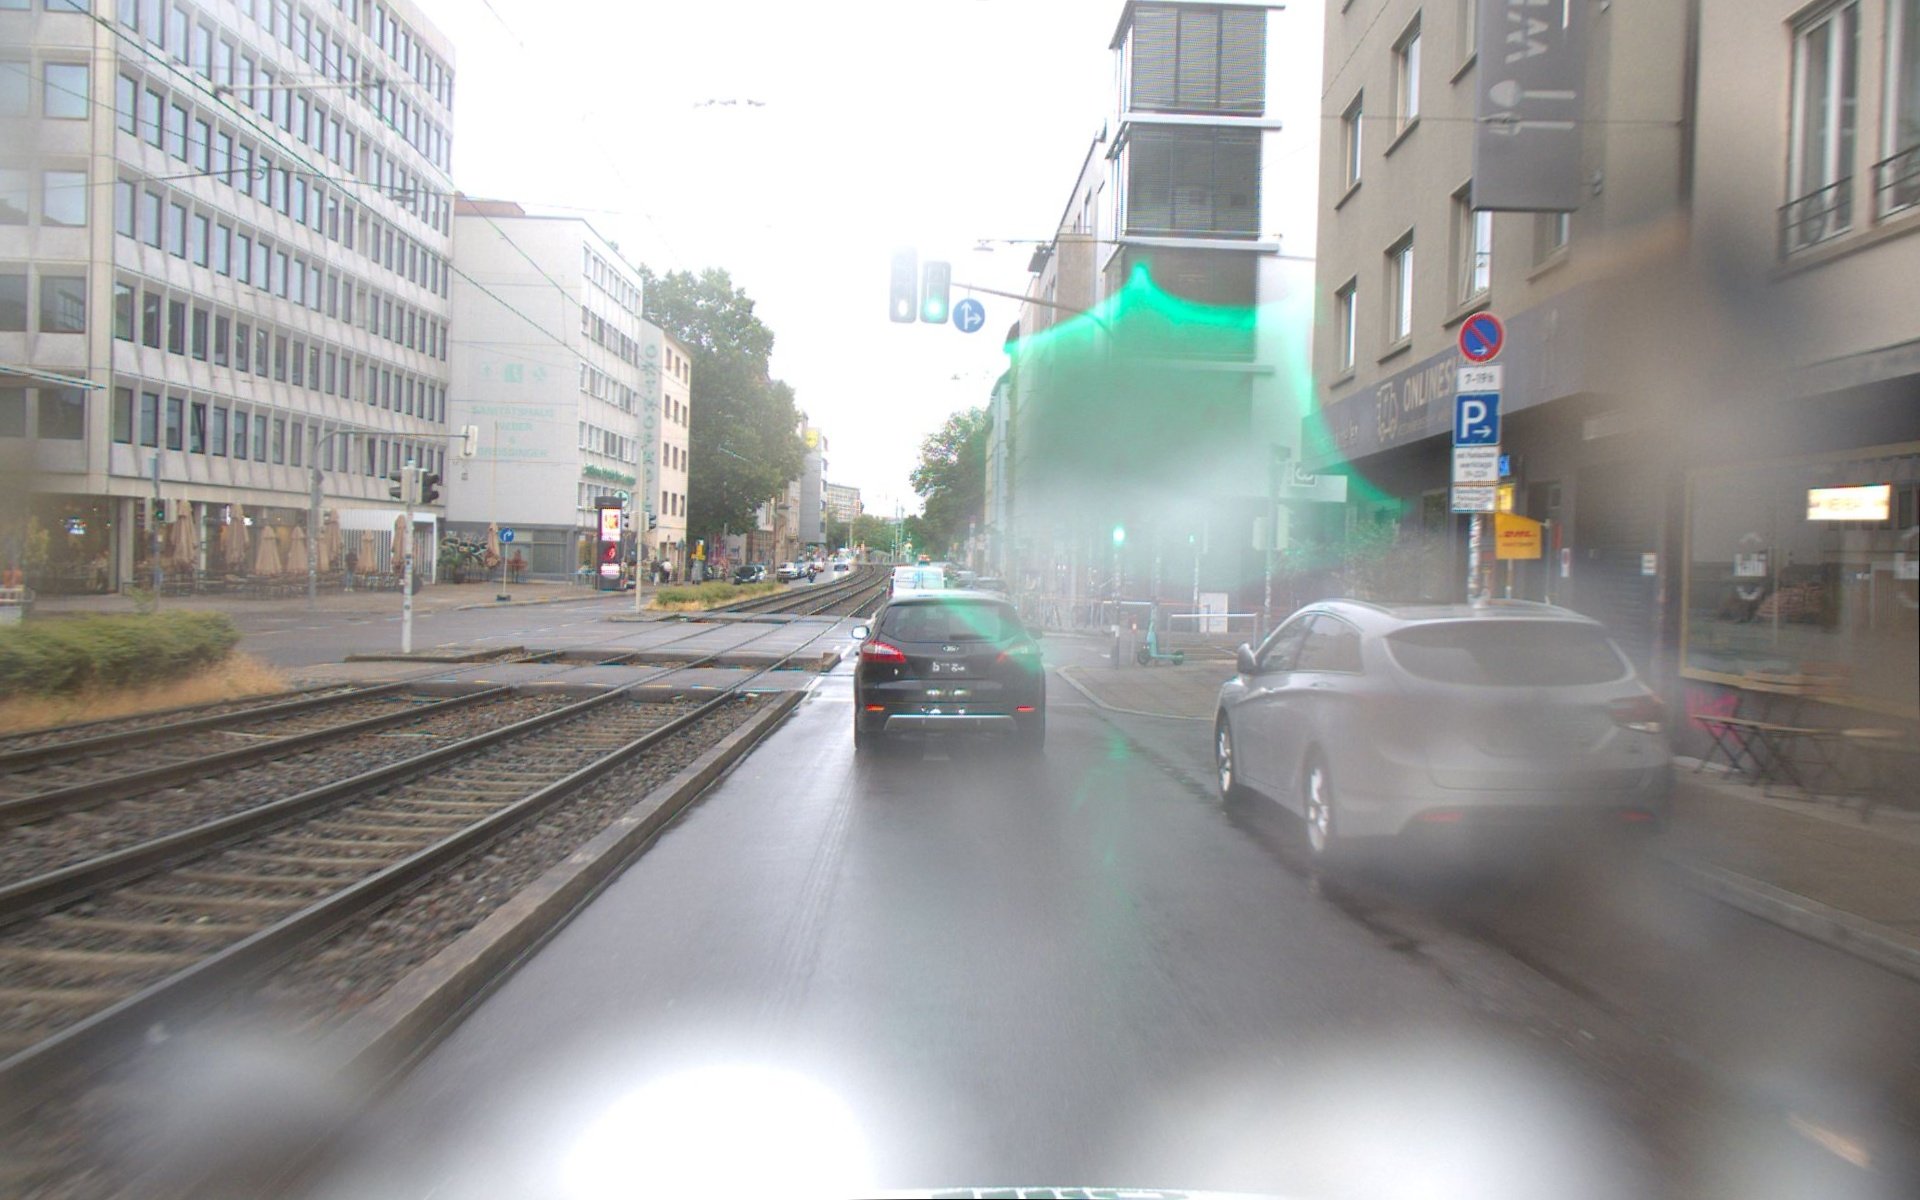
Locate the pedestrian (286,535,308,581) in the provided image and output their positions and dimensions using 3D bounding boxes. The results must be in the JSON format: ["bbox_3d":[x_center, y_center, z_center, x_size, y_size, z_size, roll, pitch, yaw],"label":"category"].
[{"bbox_3d":[-26.298,-1.664,65.629,0.553,1.779,0.843,2,1,-6],"label":"pedestrian"}]

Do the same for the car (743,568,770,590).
[{"bbox_3d":[-16.061,-1.688,130.791,1.687,1.597,4.219,2,1,-1],"label":"car"}]

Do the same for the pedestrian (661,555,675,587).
[{"bbox_3d":[-17.954,-1.763,101.620,0.665,1.929,0.742,2,0,-2],"label":"pedestrian"}]

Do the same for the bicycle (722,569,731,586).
[{"bbox_3d":[-17.373,-1.659,122.975,0.580,1.248,2.399,2,0,-8],"label":"bicycle"}]

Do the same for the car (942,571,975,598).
[{"bbox_3d":[-0.116,-0.938,103.841,1.953,1.621,4.571,1,0,-1],"label":"car"}]

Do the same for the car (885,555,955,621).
[{"bbox_3d":[-1.173,-0.351,49.423,1.953,1.848,4.271,1,0,-1],"label":"car"}]

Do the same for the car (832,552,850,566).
[{"bbox_3d":[-14.914,-5.119,207.632,1.953,1.545,4.443,2,-1,-1],"label":"car"}]

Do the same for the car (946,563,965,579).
[{"bbox_3d":[-0.451,-2.953,167.246,1.704,1.514,3.999,2,2,-2],"label":"car"}]

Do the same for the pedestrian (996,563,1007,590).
[{"bbox_3d":[3.177,-1.802,127.471,0.721,2.048,0.821,2,1,-2],"label":"pedestrian"}]

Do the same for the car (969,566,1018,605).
[{"bbox_3d":[1.445,-0.616,72.385,1.953,1.621,4.271,1,0,-1],"label":"car"}]

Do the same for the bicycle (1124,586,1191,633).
[{"bbox_3d":[5.328,0.241,44.705,0.572,1.177,1.931,2,1,-37],"label":"bicycle"}]

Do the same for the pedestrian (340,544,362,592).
[{"bbox_3d":[-24.042,-1.277,65.323,0.553,1.854,0.843,2,1,-6],"label":"pedestrian"}]

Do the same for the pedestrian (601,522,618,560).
[{"bbox_3d":[-18.285,-3.056,86.269,0.713,1.929,0.688,2,0,-5],"label":"pedestrian"}]

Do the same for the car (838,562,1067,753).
[{"bbox_3d":[-0.091,0.488,16.466,1.953,1.621,4.271,1,0,-1],"label":"car"}]

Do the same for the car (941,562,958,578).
[{"bbox_3d":[-1.137,-3.149,171.695,1.609,1.542,4.038,2,2,-2],"label":"car"}]

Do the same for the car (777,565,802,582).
[{"bbox_3d":[-16.416,-2.536,159.188,1.953,1.545,4.434,2,1,-1],"label":"car"}]

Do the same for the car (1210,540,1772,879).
[{"bbox_3d":[2.949,0.524,10.397,1.983,1.621,4.620,1,0,-1],"label":"car"}]

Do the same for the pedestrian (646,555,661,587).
[{"bbox_3d":[-18.844,-1.753,101.631,0.712,1.929,0.983,2,0,-1],"label":"pedestrian"}]

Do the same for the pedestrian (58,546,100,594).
[{"bbox_3d":[-29.388,-0.989,55.208,0.876,1.559,0.964,2,1,-3],"label":"pedestrian"}]

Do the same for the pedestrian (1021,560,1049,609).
[{"bbox_3d":[2.476,-0.506,54.575,0.650,1.610,0.774,1,0,-23],"label":"pedestrian"}]

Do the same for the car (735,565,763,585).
[{"bbox_3d":[-16.025,-1.917,125.842,1.708,1.494,4.219,1,1,-1],"label":"car"}]

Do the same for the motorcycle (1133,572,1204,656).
[{"bbox_3d":[3.788,0.252,30.002,1.121,1.486,0.675,1,0,-38],"label":"motorcycle"}]

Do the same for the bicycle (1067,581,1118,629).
[{"bbox_3d":[3.699,0.142,46.472,0.491,1.280,1.941,2,1,-25],"label":"bicycle"}]
